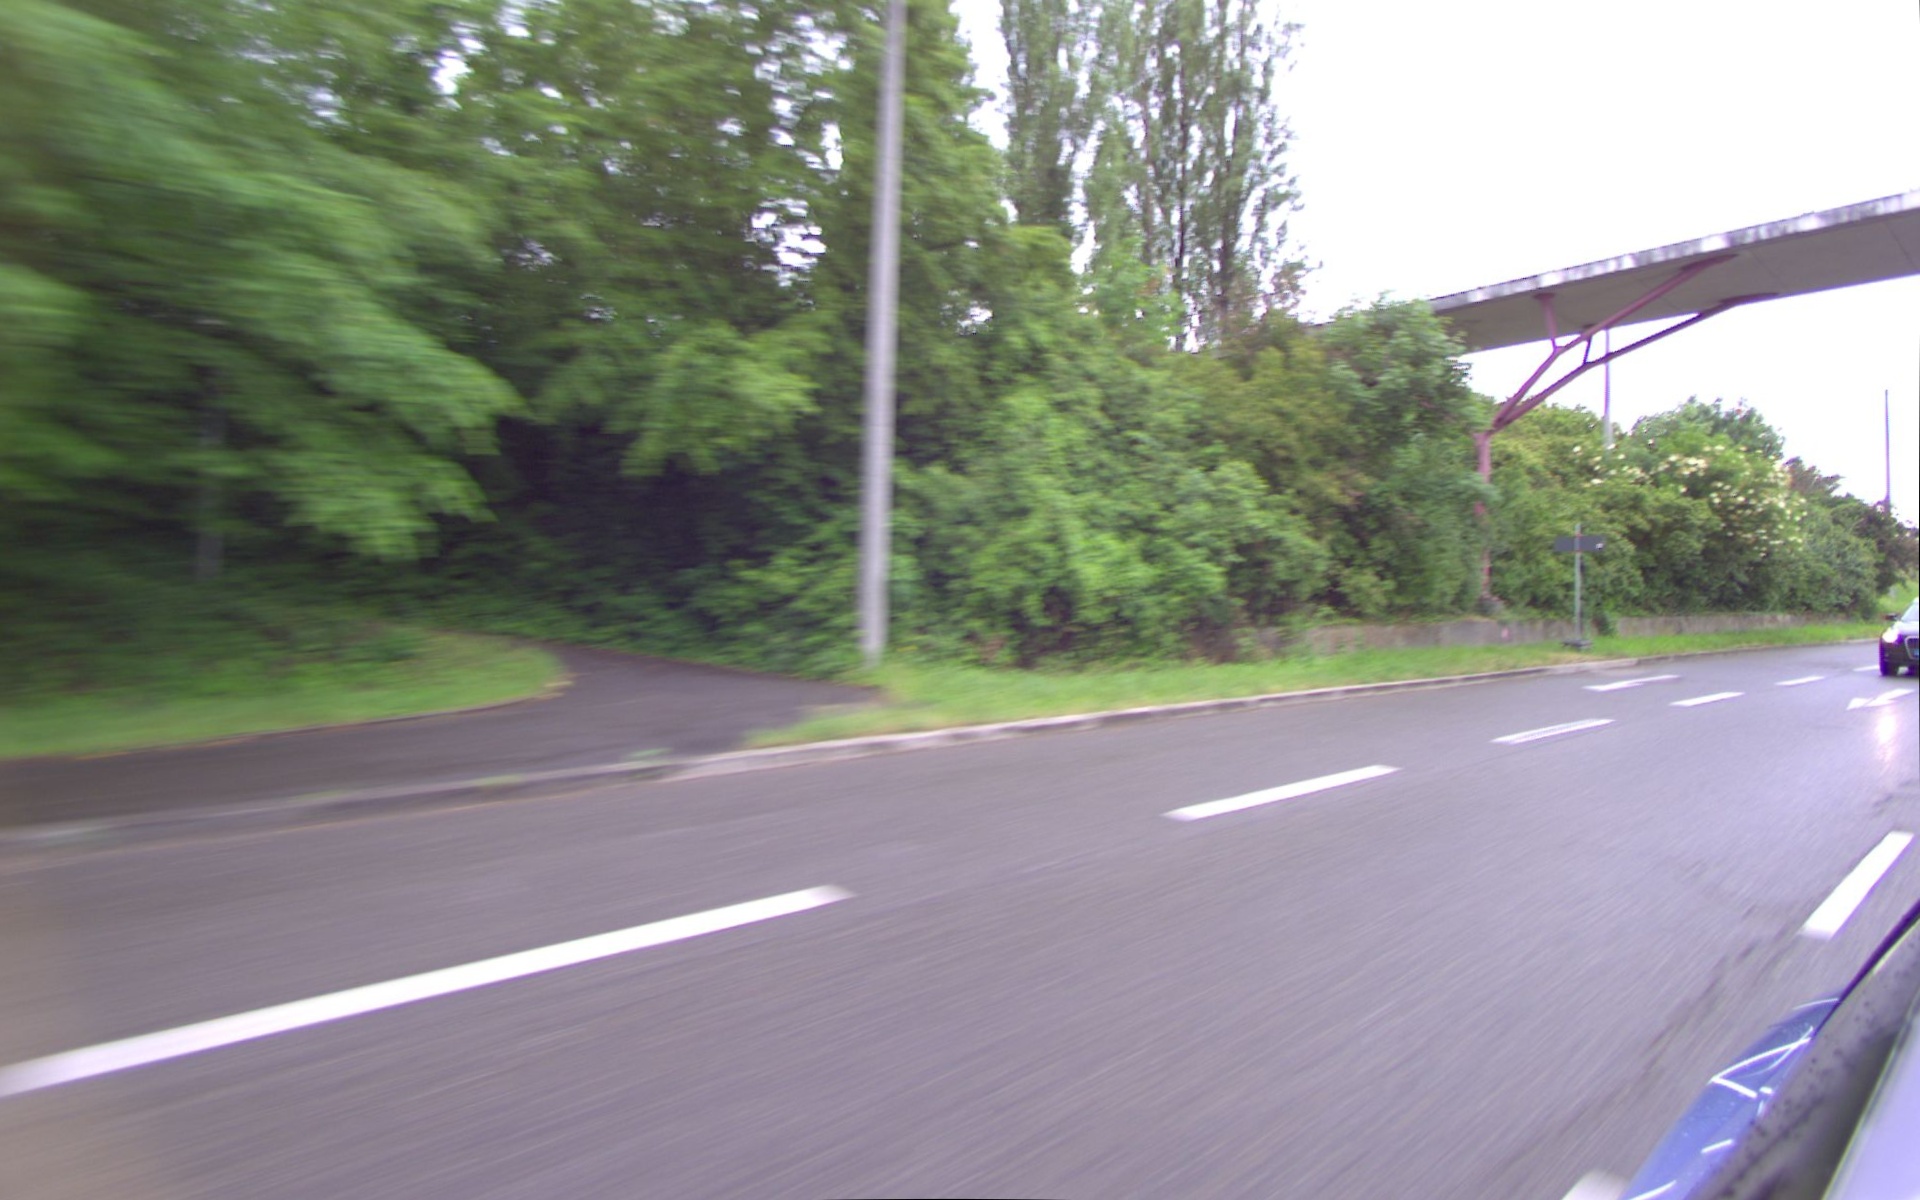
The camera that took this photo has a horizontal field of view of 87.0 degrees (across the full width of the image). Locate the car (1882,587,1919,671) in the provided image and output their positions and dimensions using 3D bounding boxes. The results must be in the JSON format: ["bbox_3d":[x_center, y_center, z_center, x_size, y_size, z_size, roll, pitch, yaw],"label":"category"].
[{"bbox_3d":[20.516,0.546,20.548,4.200,1.621,1.928,0,0,-37],"label":"car"}]
